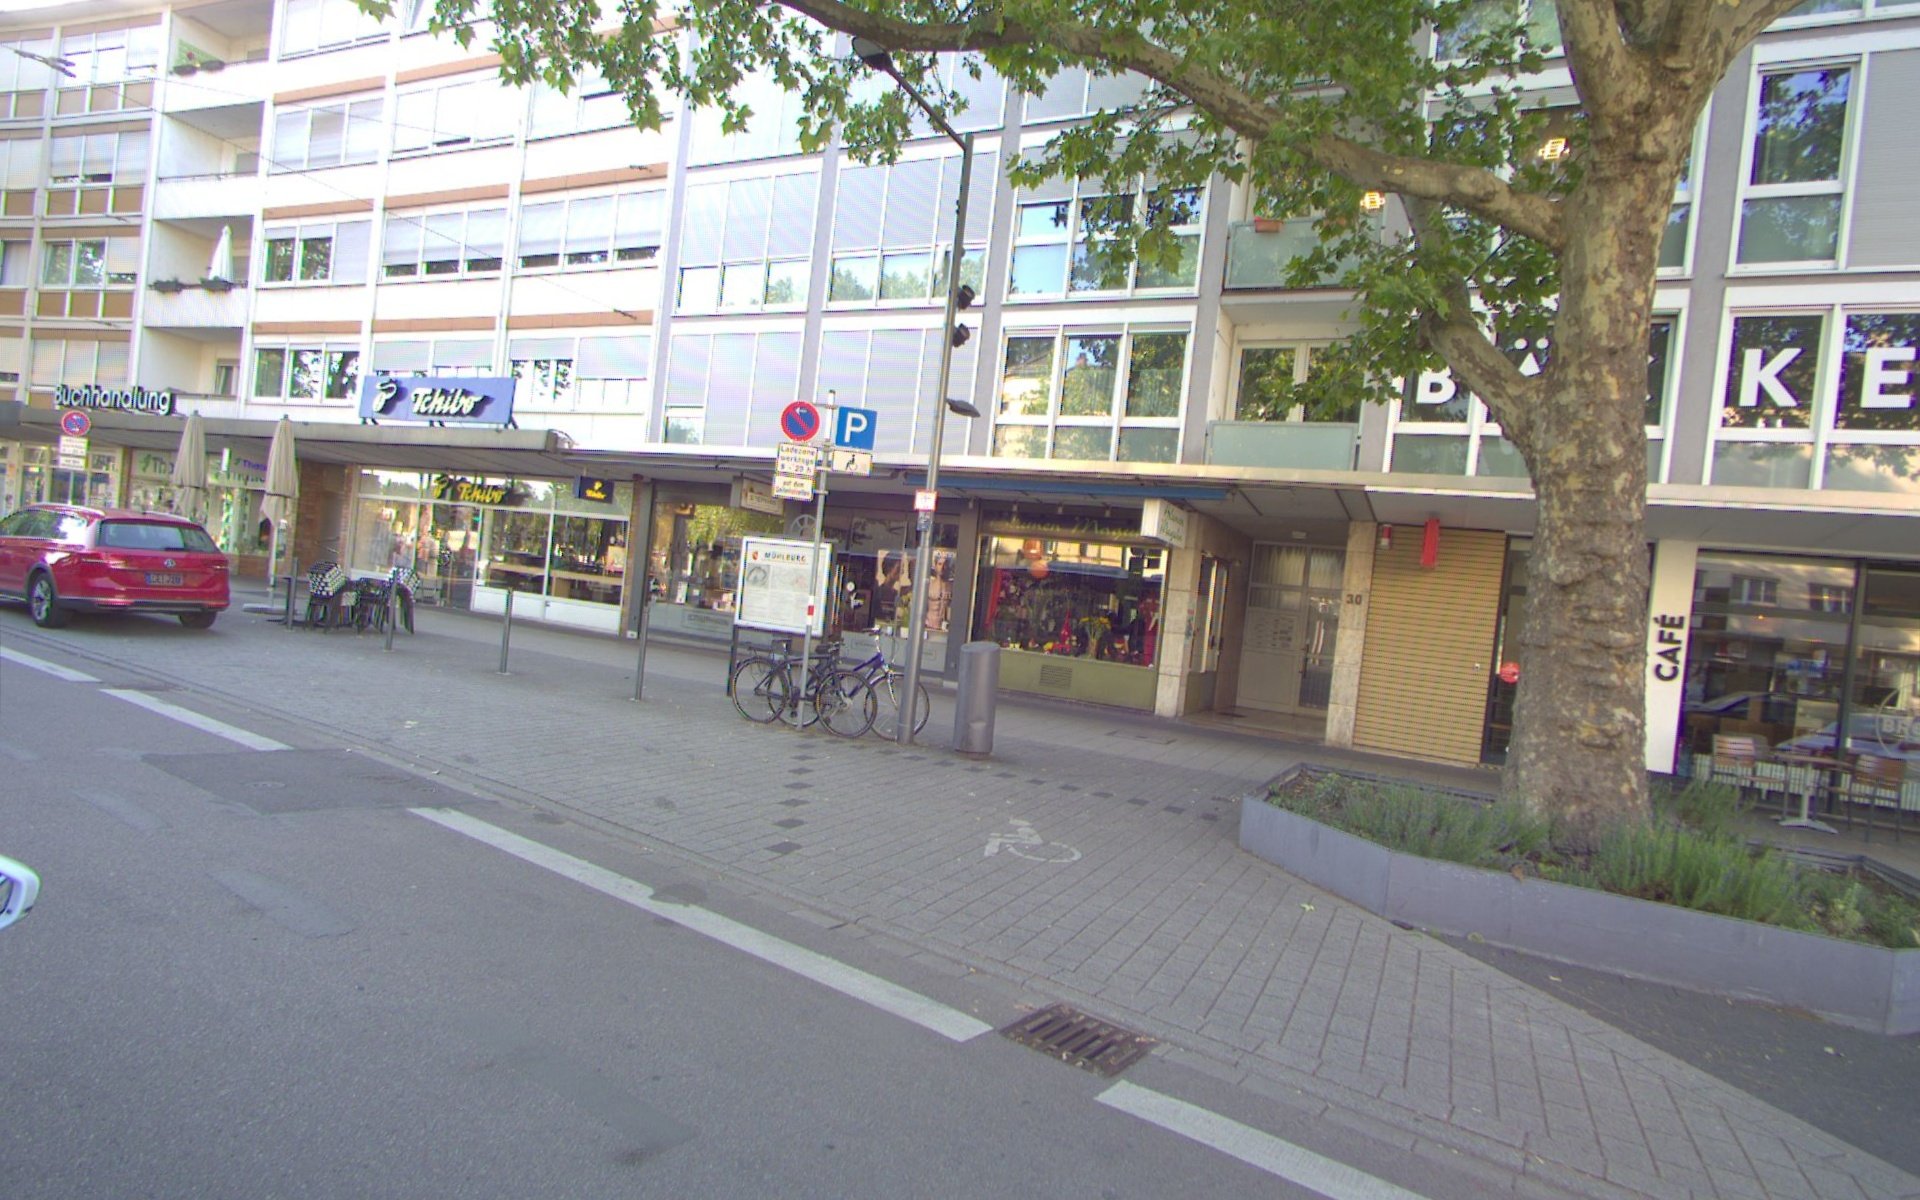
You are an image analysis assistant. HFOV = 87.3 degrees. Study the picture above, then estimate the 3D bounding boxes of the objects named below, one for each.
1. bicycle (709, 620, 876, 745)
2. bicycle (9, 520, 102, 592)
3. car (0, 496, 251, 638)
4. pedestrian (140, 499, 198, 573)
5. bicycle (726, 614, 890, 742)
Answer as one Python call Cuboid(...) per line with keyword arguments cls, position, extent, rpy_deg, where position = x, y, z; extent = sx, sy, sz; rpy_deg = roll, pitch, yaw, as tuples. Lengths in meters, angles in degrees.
Cuboid(cls="bicycle", position=(-1.749, 0.835, 10.417), extent=(1.686, 1.055, 0.294), rpy_deg=(6, 4, 17))
Cuboid(cls="bicycle", position=(-15.780, -0.775, 17.542), extent=(1.631, 1.085, 0.512), rpy_deg=(7, 3, 22))
Cuboid(cls="car", position=(-11.752, -0.506, 13.498), extent=(4.488, 1.516, 1.780), rpy_deg=(6, 2, 28))
Cuboid(cls="pedestrian", position=(-18.148, -1.466, 23.086), extent=(0.793, 1.571, 0.641), rpy_deg=(7, 1, 24))
Cuboid(cls="bicycle", position=(-1.623, 0.806, 10.674), extent=(1.686, 1.116, 0.294), rpy_deg=(6, 4, 17))
